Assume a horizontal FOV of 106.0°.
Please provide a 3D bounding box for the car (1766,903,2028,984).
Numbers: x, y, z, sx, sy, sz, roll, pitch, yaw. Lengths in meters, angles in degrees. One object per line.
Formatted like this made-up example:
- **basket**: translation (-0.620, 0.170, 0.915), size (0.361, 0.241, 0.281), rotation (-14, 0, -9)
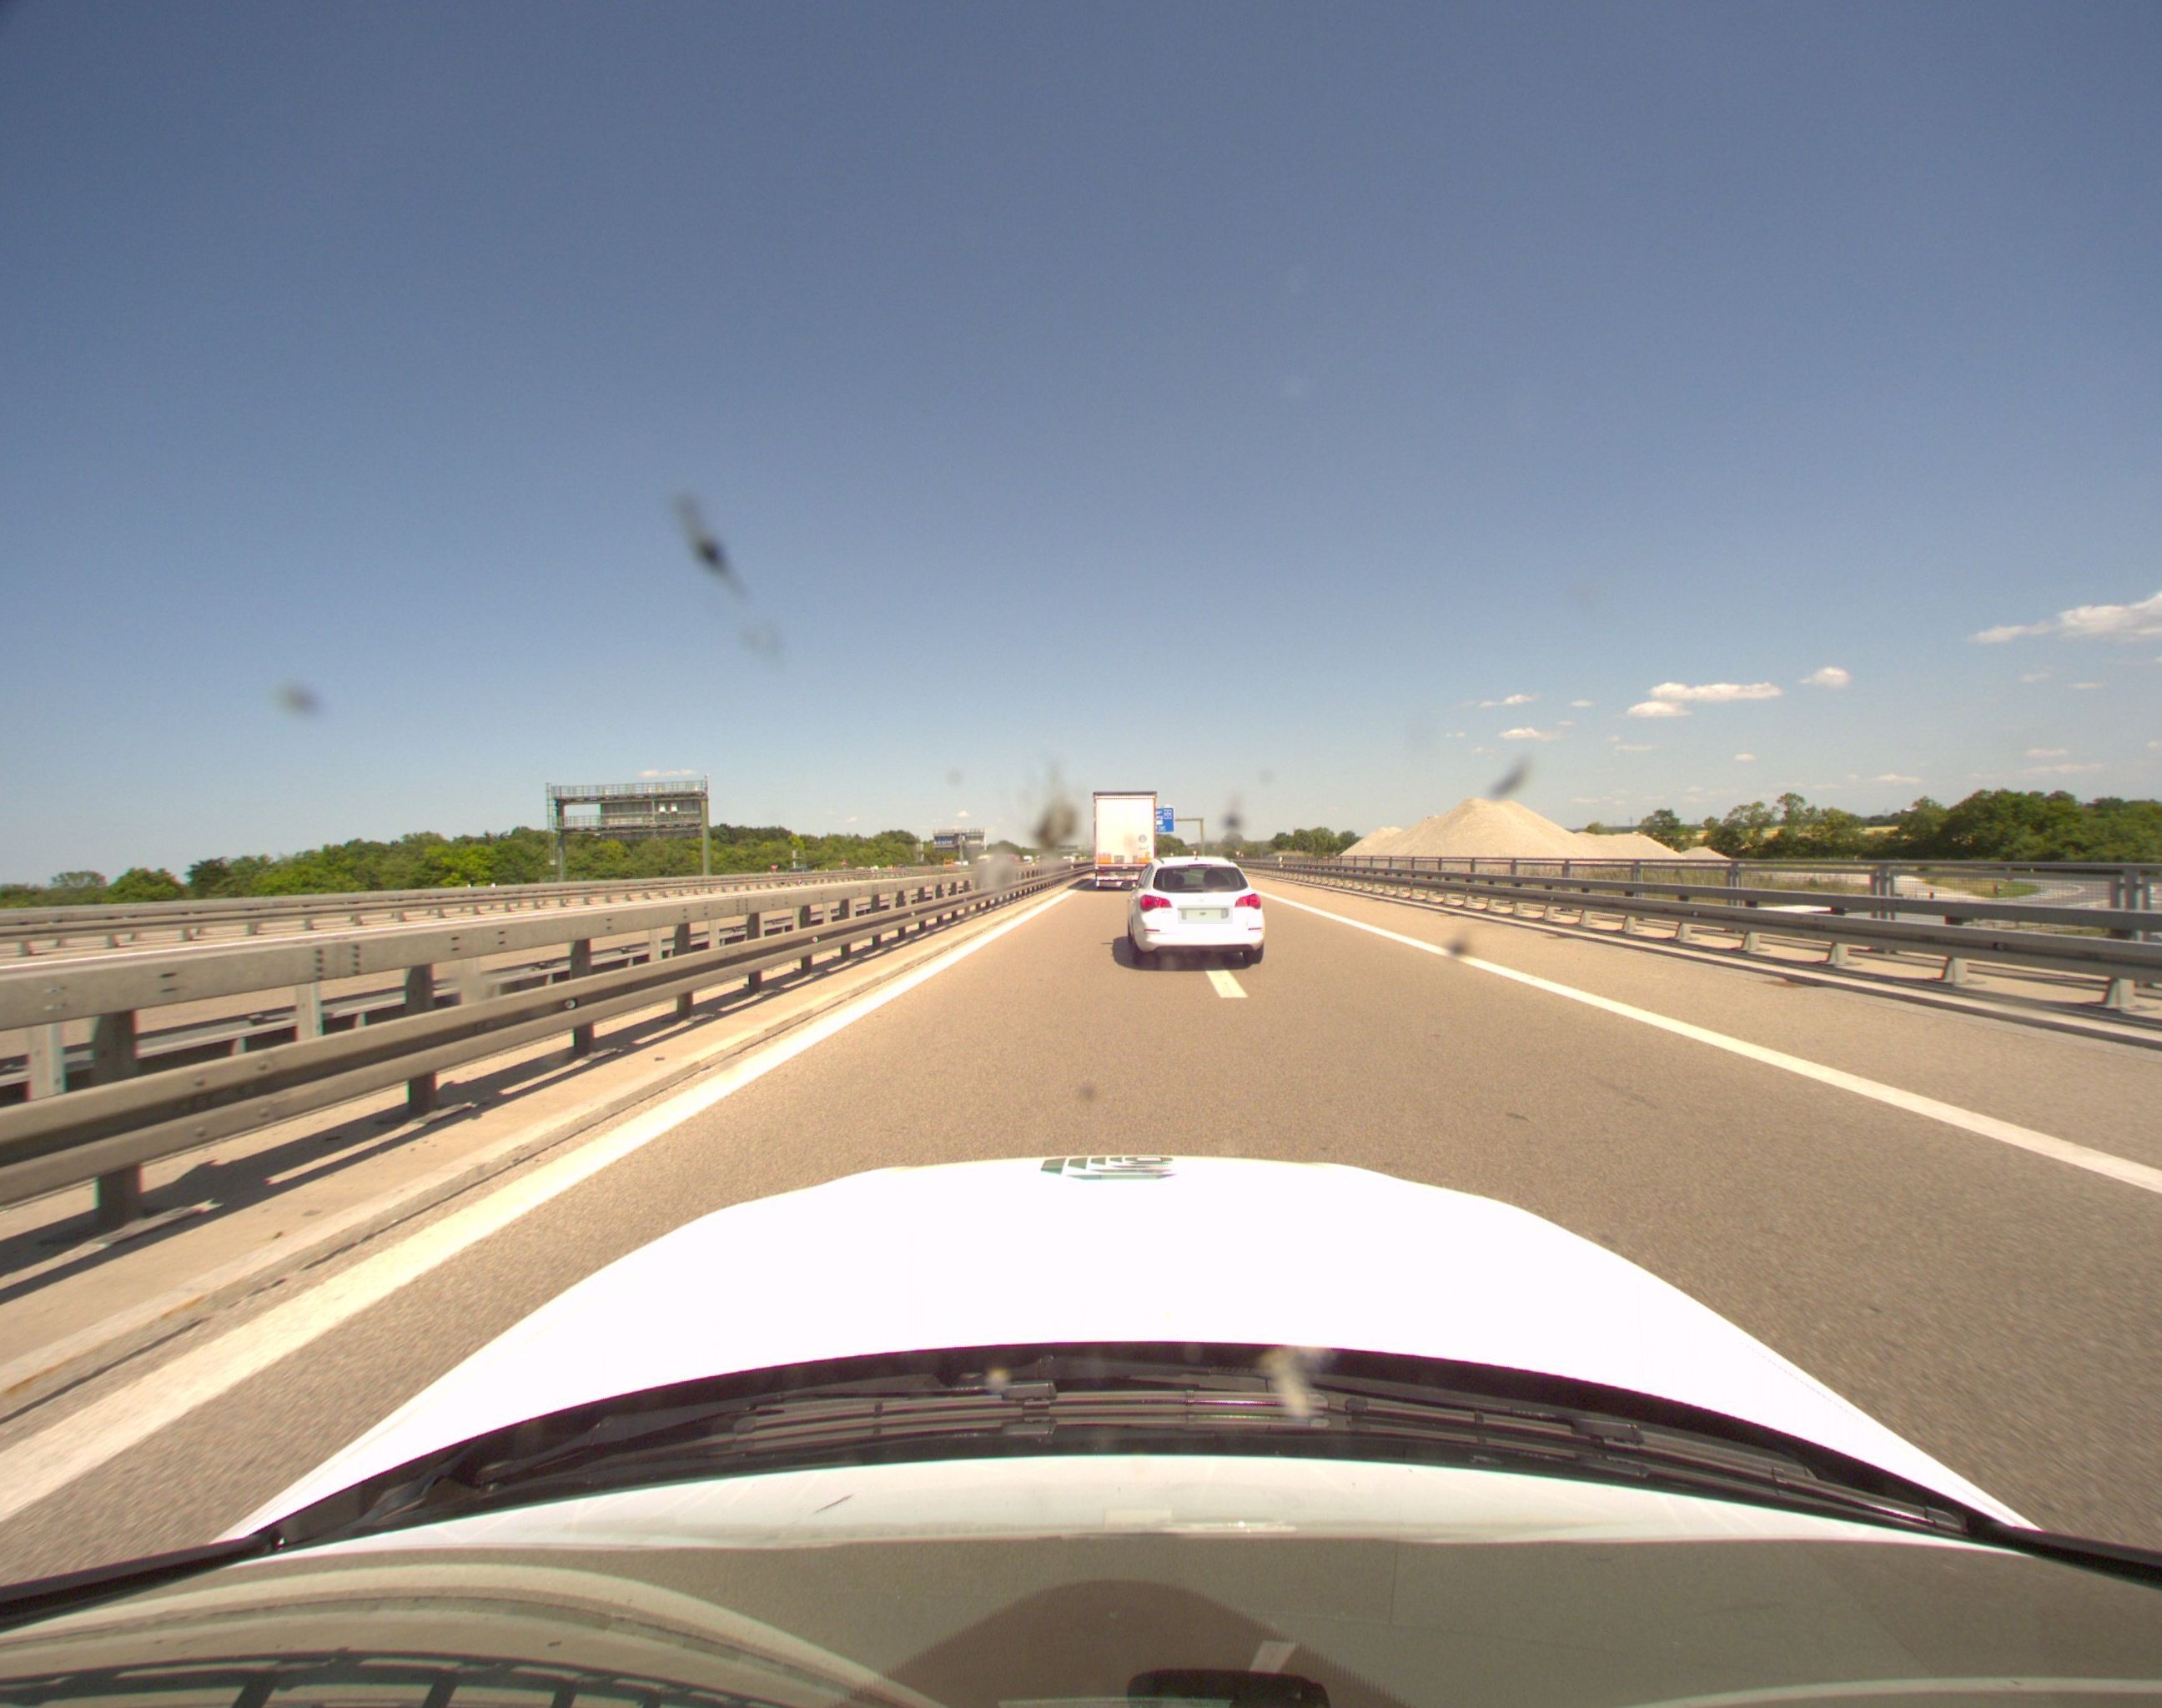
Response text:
- **car**: translation (43.931, 4.739, 43.937), size (12.953, 3.964, 2.478), rotation (0, 0, -6)

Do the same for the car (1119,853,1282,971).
- **car**: translation (1.596, 0.726, 12.378), size (1.848, 1.443, 4.371), rotation (-1, 0, 0)

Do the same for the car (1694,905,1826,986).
- **car**: translation (35.744, 4.746, 42.980), size (5.136, 3.964, 2.478), rotation (0, 0, -6)

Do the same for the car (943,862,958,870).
- **car**: translation (-25.352, 2.291, 158.305), size (1.829, 1.517, 5.303), rotation (-2, 0, 4)

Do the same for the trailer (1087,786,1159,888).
- **trailer**: translation (2.128, -0.611, 38.773), size (2.899, 4.145, 11.269), rotation (-1, -1, 4)
